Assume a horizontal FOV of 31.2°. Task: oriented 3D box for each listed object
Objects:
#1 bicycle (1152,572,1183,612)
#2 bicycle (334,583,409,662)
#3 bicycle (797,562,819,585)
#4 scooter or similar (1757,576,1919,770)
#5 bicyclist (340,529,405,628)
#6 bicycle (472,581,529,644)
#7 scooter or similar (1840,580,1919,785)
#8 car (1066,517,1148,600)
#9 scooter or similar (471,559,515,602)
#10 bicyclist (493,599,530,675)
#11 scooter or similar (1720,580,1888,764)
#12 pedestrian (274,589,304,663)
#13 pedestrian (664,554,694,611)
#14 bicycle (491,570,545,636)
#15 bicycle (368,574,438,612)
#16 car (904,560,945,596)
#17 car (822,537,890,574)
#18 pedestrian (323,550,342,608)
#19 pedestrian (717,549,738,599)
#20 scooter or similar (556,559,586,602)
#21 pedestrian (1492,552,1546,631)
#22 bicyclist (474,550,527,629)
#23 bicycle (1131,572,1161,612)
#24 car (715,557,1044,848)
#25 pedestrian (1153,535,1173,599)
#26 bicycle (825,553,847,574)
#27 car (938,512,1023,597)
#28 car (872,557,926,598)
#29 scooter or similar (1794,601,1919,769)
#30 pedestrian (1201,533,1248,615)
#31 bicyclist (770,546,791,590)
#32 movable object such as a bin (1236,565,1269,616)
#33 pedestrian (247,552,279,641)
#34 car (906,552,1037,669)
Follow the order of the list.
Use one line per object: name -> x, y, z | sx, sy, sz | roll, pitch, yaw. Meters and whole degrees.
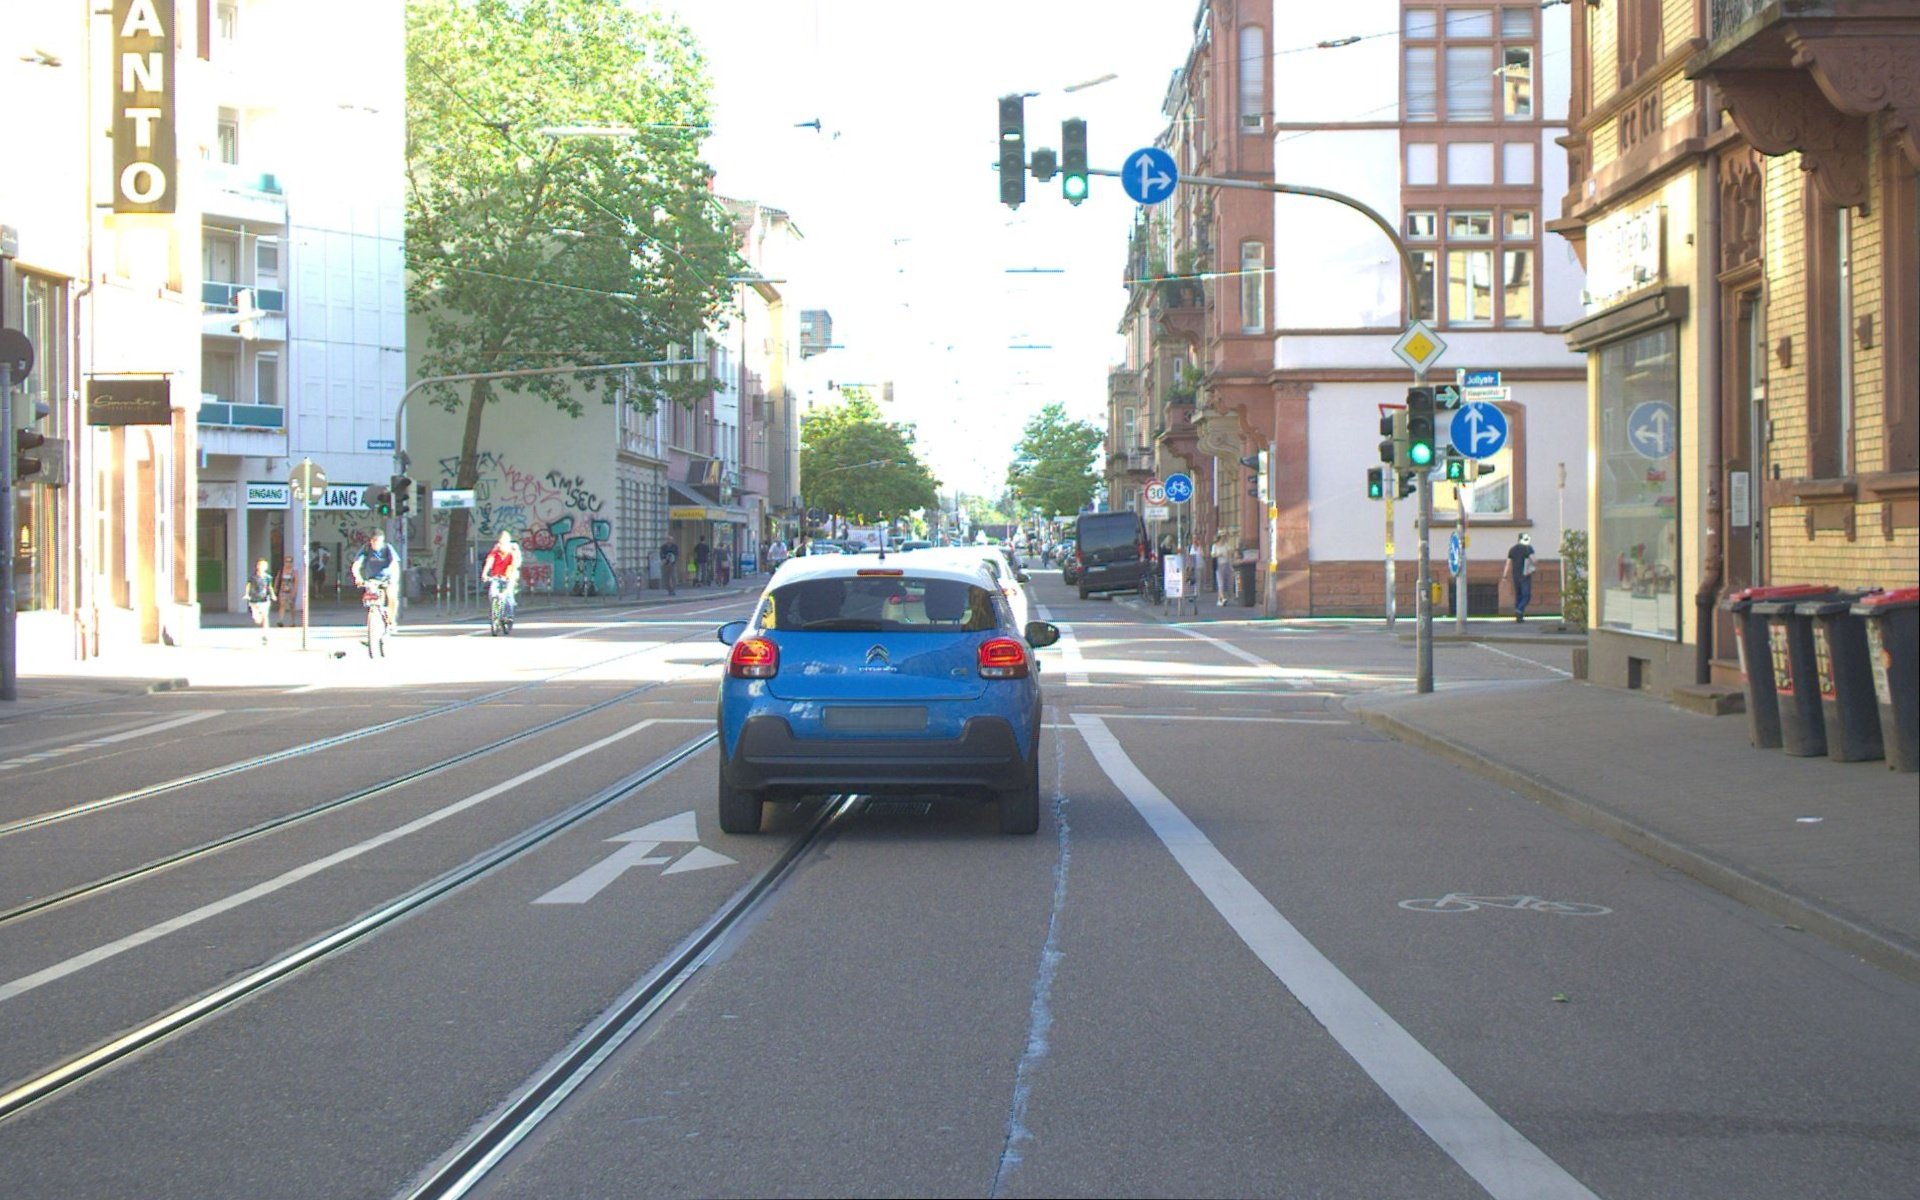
bicycle -> 4.986, -0.190, 82.726 | 0.431, 0.944, 1.764 | 0, 1, -6
bicycle -> -8.344, 0.308, 48.834 | 0.730, 1.084, 2.062 | 0, 1, -1
bicycle -> -8.641, -1.512, 195.045 | 1.120, 1.315, 3.645 | -1, 1, -5
scooter or similar -> 5.668, 0.456, 21.932 | 0.933, 1.144, 0.650 | -4, 1, -1
bicyclist -> -8.334, -0.311, 48.814 | 0.724, 1.376, 1.228 | 0, 1, -1
bicycle -> -8.022, 0.213, 60.047 | 0.730, 1.062, 2.062 | 0, 1, -1
scooter or similar -> 5.725, 0.465, 20.262 | 0.790, 1.144, 0.790 | -4, 1, -1
car -> 4.362, -1.244, 103.059 | 2.271, 2.428, 5.720 | 0, 1, 1
scooter or similar -> -13.820, -0.571, 101.748 | 1.227, 1.253, 0.768 | 0, 1, -11
bicyclist -> -8.226, 0.678, 63.097 | 0.590, 1.371, 0.679 | 0, 1, -1
scooter or similar -> 5.620, 0.472, 22.925 | 0.897, 1.144, 0.547 | -4, 1, -1
pedestrian -> -14.083, 0.548, 72.157 | 0.542, 1.547, 0.516 | 0, 1, -1
pedestrian -> -8.756, -0.559, 107.175 | 0.682, 1.759, 1.025 | 0, 0, 12
bicycle -> -8.105, 0.038, 63.118 | 0.730, 1.179, 2.062 | 0, 1, -1
bicycle -> -15.513, -0.194, 95.704 | 1.919, 1.031, 0.664 | 0, 1, 27
car -> -1.752, -1.108, 170.252 | 1.993, 1.738, 4.563 | 0, 1, 0
car -> -7.392, -3.167, 243.719 | 4.307, 2.572, 2.210 | 0, 1, -25
pedestrian -> -18.626, -0.633, 102.022 | 0.456, 1.712, 0.547 | -1, 1, 0
pedestrian -> -8.249, -0.908, 121.895 | 0.710, 1.758, 0.570 | -1, 1, 0
scooter or similar -> -11.685, -0.594, 103.269 | 0.788, 1.267, 1.075 | 0, 1, 0
pedestrian -> 10.458, -0.165, 64.252 | 0.938, 1.452, 0.822 | 0, 1, 13
bicyclist -> -8.004, -0.190, 59.935 | 0.735, 1.376, 1.469 | 0, 1, -1
bicycle -> 4.470, -0.189, 82.663 | 0.431, 0.944, 1.764 | 0, 1, -6
car -> -0.434, 0.497, 19.507 | 1.674, 1.472, 4.000 | 0, 1, -1
pedestrian -> 6.443, -1.050, 109.131 | 0.585, 2.007, 0.823 | 0, 1, 0
bicycle -> -7.030, -2.061, 194.820 | 1.120, 1.142, 3.645 | -1, 1, -5
car -> 0.482, -1.109, 83.593 | 1.993, 2.007, 4.000 | -1, 1, 0
car -> -2.295, -0.879, 131.232 | 1.985, 1.497, 4.309 | 0, 1, 0
scooter or similar -> 5.662, 0.514, 21.219 | 0.790, 0.954, 0.680 | -4, 1, -1
pedestrian -> 6.083, -0.596, 79.045 | 0.705, 1.776, 0.673 | -11, 1, 0
bicyclist -> -6.042, -1.094, 115.775 | 0.682, 1.478, 0.778 | 0, 1, 0
movable object such as a bin -> 6.560, -0.218, 77.022 | 0.666, 1.150, 0.594 | 0, 1, -2
pedestrian -> -11.109, -0.063, 54.785 | 0.404, 1.405, 0.516 | 0, 0, -1
car -> 0.139, 0.110, 45.823 | 1.667, 1.473, 4.000 | -1, 1, 0
